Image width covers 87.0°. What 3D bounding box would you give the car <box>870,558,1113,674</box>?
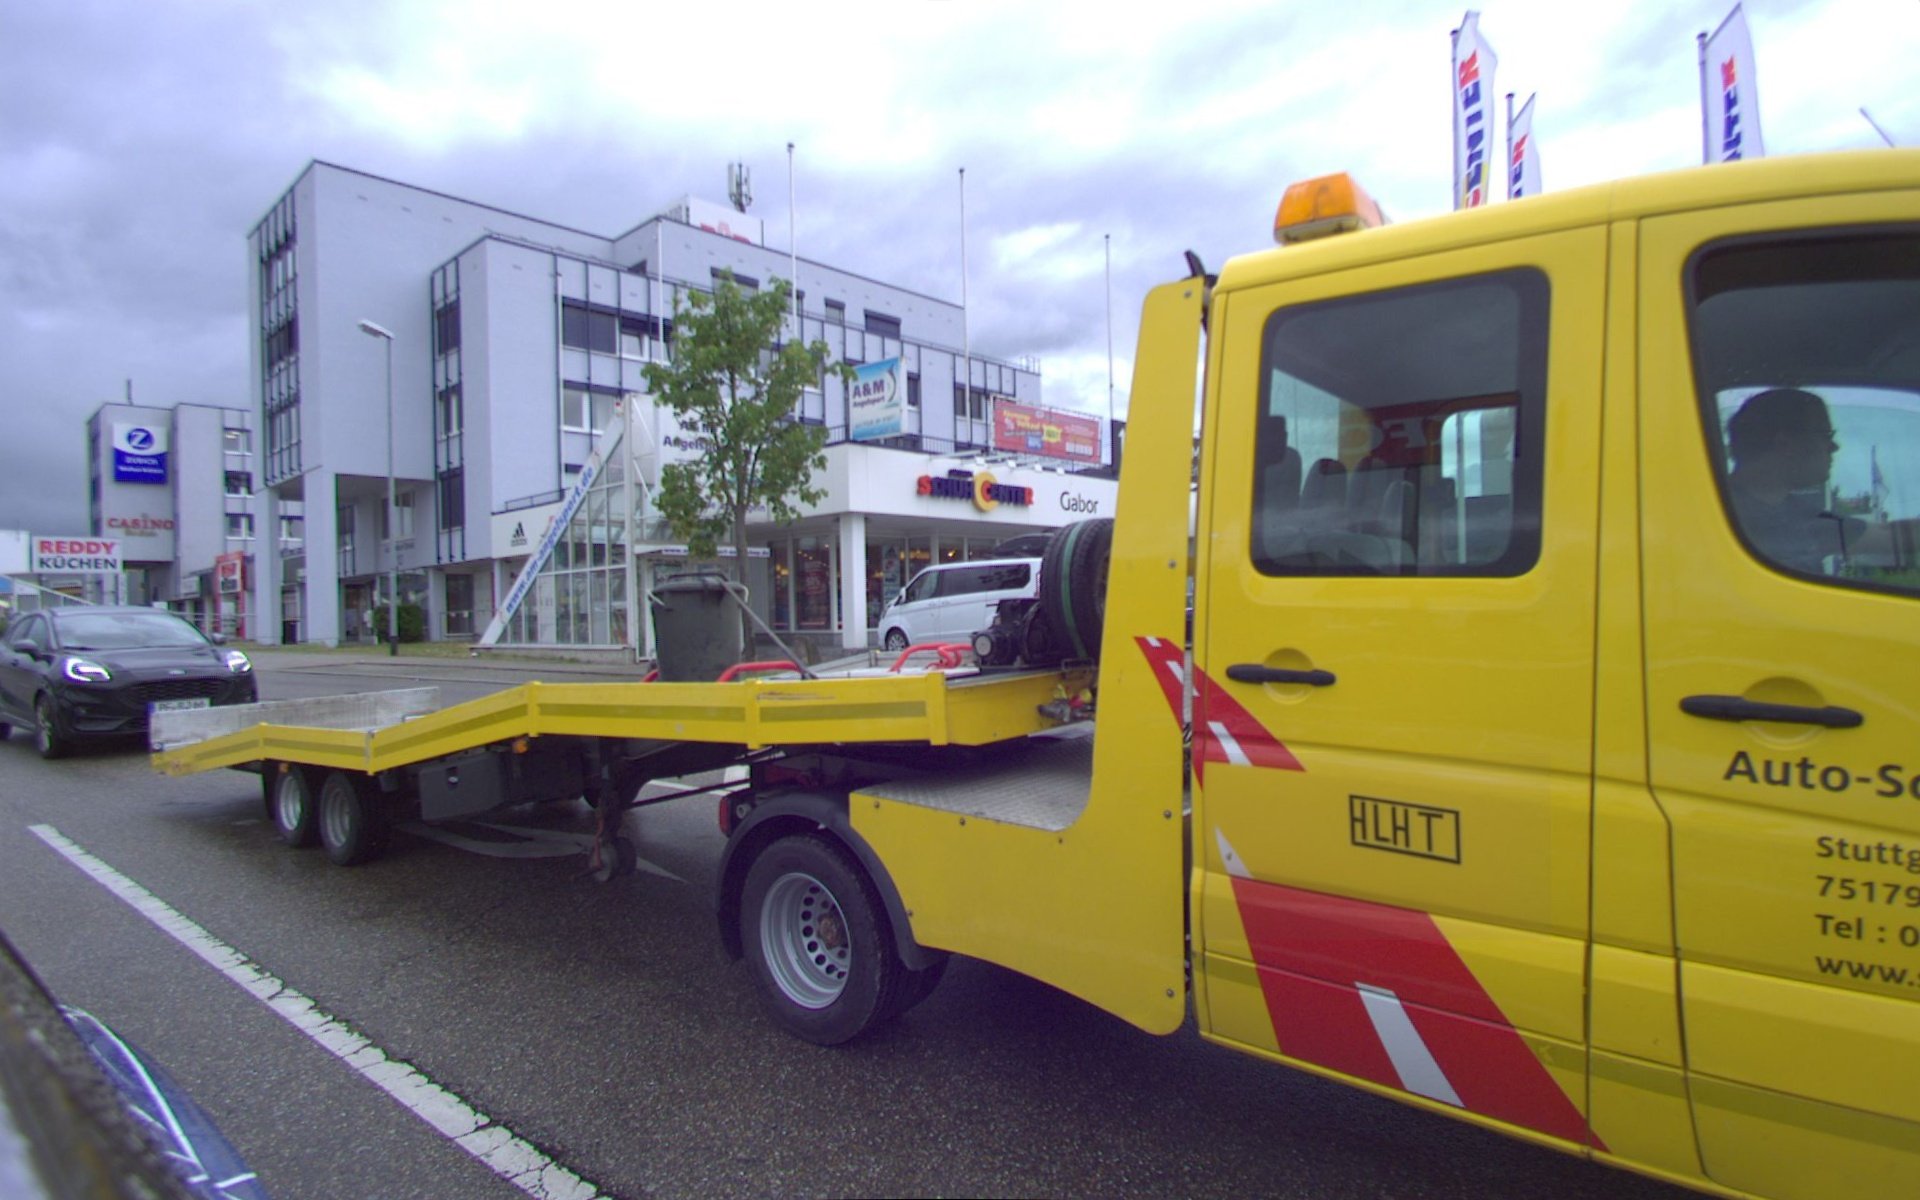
[{"bbox_3d":[0.499,0.316,20.106,4.790,2.029,1.971,-1,-1,45],"label":"car"}]

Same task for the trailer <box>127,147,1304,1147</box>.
[{"bbox_3d":[-2.355,0.201,5.915,7.961,2.493,2.281,-2,-2,39],"label":"trailer"}]

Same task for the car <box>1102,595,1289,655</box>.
[{"bbox_3d":[5.933,0.617,25.842,4.376,1.404,1.797,-1,-1,44],"label":"car"}]

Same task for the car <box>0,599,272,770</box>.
[{"bbox_3d":[-9.511,0.813,11.273,3.992,1.552,1.793,-1,0,36],"label":"car"}]

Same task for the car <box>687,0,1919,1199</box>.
[{"bbox_3d":[1.736,0.160,2.648,5.009,2.493,2.218,-2,-2,39],"label":"car"}]

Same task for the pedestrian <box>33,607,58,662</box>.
[{"bbox_3d":[-29.465,1.099,32.604,0.519,1.720,0.543,-1,0,42],"label":"pedestrian"}]

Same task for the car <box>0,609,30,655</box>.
[{"bbox_3d":[-36.252,1.186,37.756,3.997,1.622,1.800,-1,0,40],"label":"car"}]

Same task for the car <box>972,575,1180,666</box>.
[{"bbox_3d":[2.505,0.431,22.596,4.376,1.834,1.870,-1,-1,44],"label":"car"}]

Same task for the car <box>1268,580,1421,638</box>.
[{"bbox_3d":[12.685,0.304,33.563,4.376,1.777,1.870,-1,-1,44],"label":"car"}]

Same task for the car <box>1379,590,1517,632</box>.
[{"bbox_3d":[18.464,0.419,38.417,4.376,1.509,1.870,-1,-1,44],"label":"car"}]

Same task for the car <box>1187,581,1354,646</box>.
[{"bbox_3d":[9.132,0.394,30.028,4.376,1.777,1.870,-1,-1,44],"label":"car"}]

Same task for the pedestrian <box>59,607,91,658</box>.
[{"bbox_3d":[-30.504,1.111,34.875,0.634,1.756,0.590,0,0,-17],"label":"pedestrian"}]

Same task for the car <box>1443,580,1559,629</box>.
[{"bbox_3d":[23.187,0.209,43.442,1.882,2.029,4.004,0,-1,-43],"label":"car"}]

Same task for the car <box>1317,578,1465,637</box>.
[{"bbox_3d":[14.906,0.262,35.137,4.376,1.920,1.870,-1,-1,44],"label":"car"}]
